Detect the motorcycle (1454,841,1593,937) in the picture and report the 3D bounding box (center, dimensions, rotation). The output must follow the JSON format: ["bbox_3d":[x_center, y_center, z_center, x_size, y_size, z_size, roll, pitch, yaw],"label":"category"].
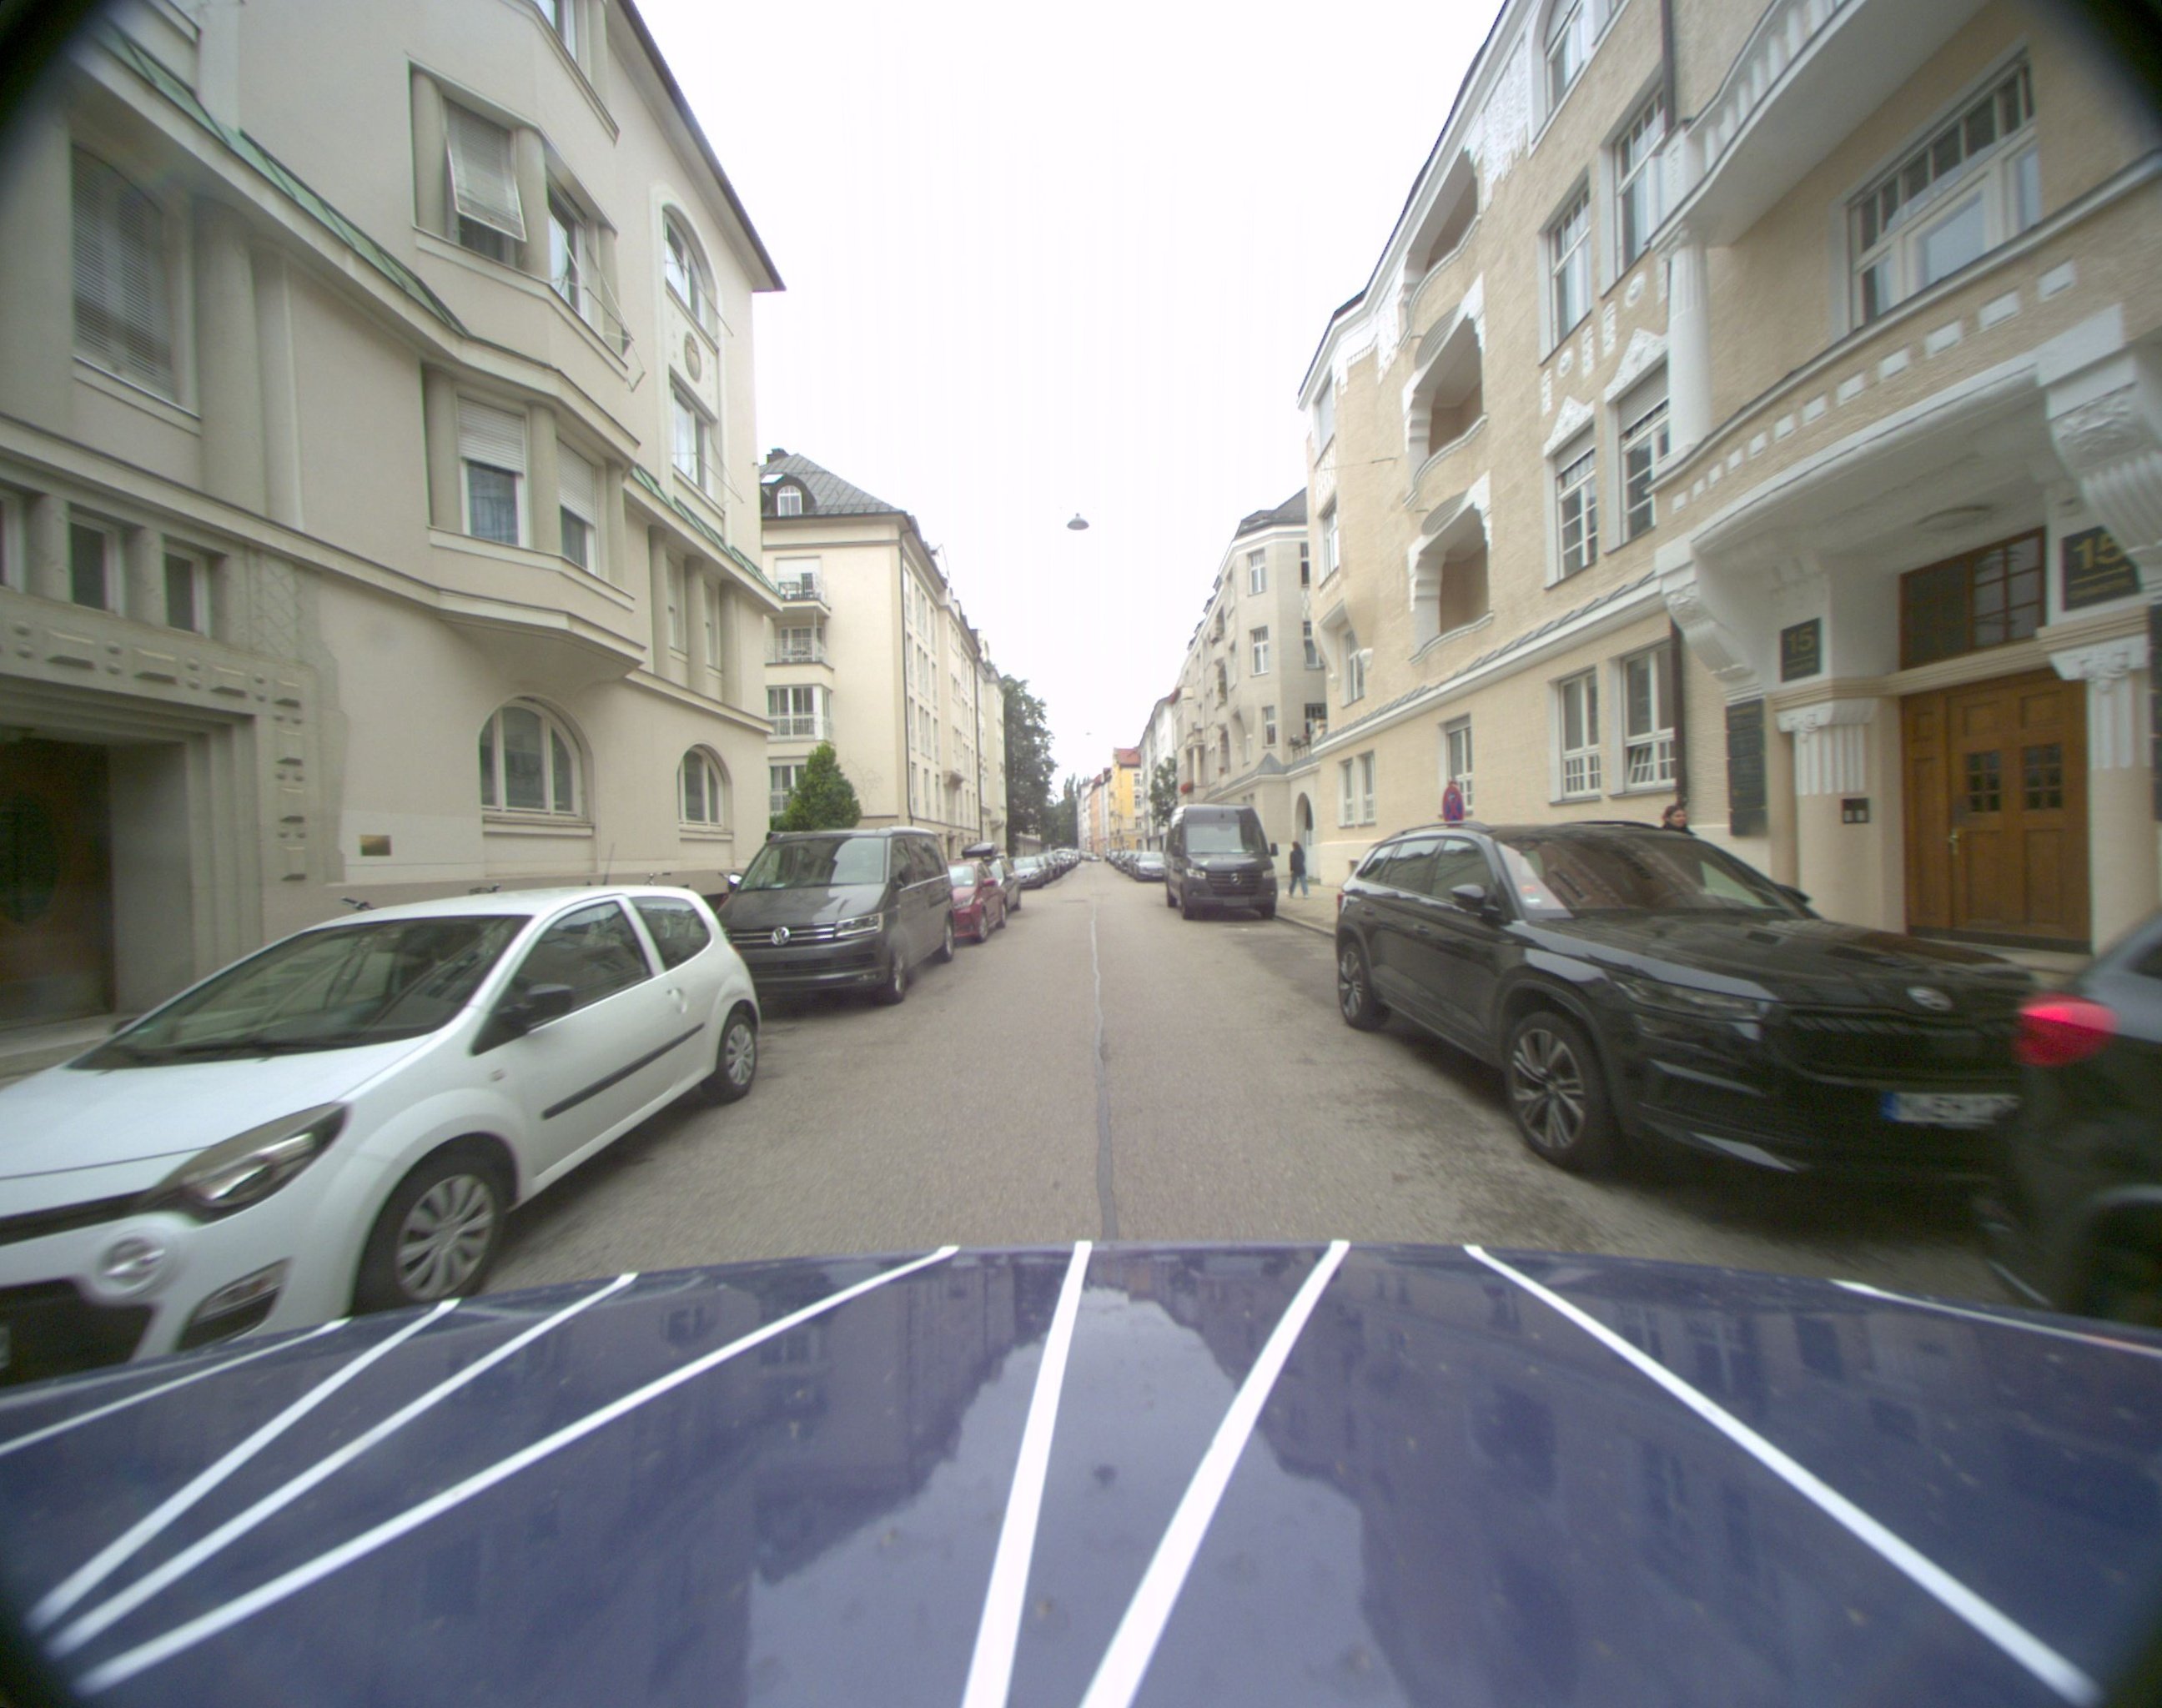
[{"bbox_3d":[7.200,0.509,12.554,0.829,1.388,2.514,-2,1,1],"label":"motorcycle"}]

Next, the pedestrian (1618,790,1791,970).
[{"bbox_3d":[6.427,0.253,7.896,0.995,1.719,0.939,-3,1,1],"label":"pedestrian"}]

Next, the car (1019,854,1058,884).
[{"bbox_3d":[-2.177,0.723,39.451,1.683,1.375,3.645,-2,1,1],"label":"car"}]

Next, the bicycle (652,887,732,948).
[{"bbox_3d":[-7.218,1.151,14.189,0.540,0.952,1.817,-3,1,-1],"label":"bicycle"}]

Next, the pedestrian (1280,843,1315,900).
[{"bbox_3d":[5.892,0.460,20.733,0.714,1.514,1.015,-2,1,6],"label":"pedestrian"}]

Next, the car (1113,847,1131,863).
[{"bbox_3d":[4.384,0.100,82.106,1.683,1.628,3.704,-3,1,0],"label":"car"}]

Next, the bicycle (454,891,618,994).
[{"bbox_3d":[-7.150,1.117,10.116,0.719,1.111,1.967,0,1,1],"label":"bicycle"}]

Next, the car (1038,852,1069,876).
[{"bbox_3d":[-1.704,0.598,48.255,1.683,1.375,3.645,-2,1,1],"label":"car"}]

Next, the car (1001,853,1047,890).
[{"bbox_3d":[-2.499,0.741,34.103,1.683,1.434,3.645,-2,1,1],"label":"car"}]

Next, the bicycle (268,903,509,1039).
[{"bbox_3d":[-7.191,1.150,8.057,0.719,1.111,1.967,1,1,1],"label":"bicycle"}]

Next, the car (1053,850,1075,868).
[{"bbox_3d":[-1.487,0.434,66.406,1.683,1.434,3.645,-2,1,1],"label":"car"}]

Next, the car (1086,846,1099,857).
[{"bbox_3d":[1.973,-0.384,131.612,1.999,1.788,3.999,-3,1,-2],"label":"car"}]

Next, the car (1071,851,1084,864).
[{"bbox_3d":[-0.470,0.446,103.741,1.683,1.671,3.645,-2,1,1],"label":"car"}]

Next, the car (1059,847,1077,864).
[{"bbox_3d":[-1.354,0.128,80.179,1.683,1.671,3.645,-2,1,1],"label":"car"}]

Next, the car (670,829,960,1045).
[{"bbox_3d":[-2.863,0.766,9.467,1.880,1.925,4.662,-3,1,0],"label":"car"}]

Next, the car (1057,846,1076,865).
[{"bbox_3d":[-1.383,0.119,74.617,1.683,1.671,3.645,-2,1,1],"label":"car"}]

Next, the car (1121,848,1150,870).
[{"bbox_3d":[3.813,0.325,53.669,1.683,1.390,3.704,-3,1,0],"label":"car"}]

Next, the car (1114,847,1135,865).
[{"bbox_3d":[4.078,0.164,71.330,1.683,1.628,3.704,-3,1,0],"label":"car"}]

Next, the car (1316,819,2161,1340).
[{"bbox_3d":[3.076,0.709,4.695,1.877,1.639,4.459,-3,1,1],"label":"car"}]

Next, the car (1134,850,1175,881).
[{"bbox_3d":[3.589,0.528,37.433,1.683,1.390,3.705,-2,1,1],"label":"car"}]

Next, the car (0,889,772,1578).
[{"bbox_3d":[-3.036,1.045,3.677,1.496,1.463,3.675,-3,1,0],"label":"car"}]

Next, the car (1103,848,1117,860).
[{"bbox_3d":[4.969,-0.027,131.939,1.999,2.002,3.998,-3,1,-3],"label":"car"}]

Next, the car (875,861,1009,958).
[{"bbox_3d":[-2.479,0.942,14.454,1.731,1.458,3.737,-2,1,1],"label":"car"}]

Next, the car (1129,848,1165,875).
[{"bbox_3d":[3.734,0.408,43.781,1.683,1.390,3.704,-3,1,0],"label":"car"}]

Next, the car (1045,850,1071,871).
[{"bbox_3d":[-1.685,0.483,56.576,1.683,1.434,3.645,-2,1,1],"label":"car"}]

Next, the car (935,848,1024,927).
[{"bbox_3d":[-2.519,0.774,19.580,1.683,1.767,3.456,-2,1,1],"label":"car"}]

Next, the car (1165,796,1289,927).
[{"bbox_3d":[3.254,0.121,18.139,2.104,2.606,5.678,-1,1,3],"label":"car"}]

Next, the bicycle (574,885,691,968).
[{"bbox_3d":[-7.103,1.111,12.156,0.719,1.111,1.884,-1,1,0],"label":"bicycle"}]

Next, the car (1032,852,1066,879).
[{"bbox_3d":[-1.825,0.654,43.970,1.683,1.375,3.645,-2,1,1],"label":"car"}]

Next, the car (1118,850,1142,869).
[{"bbox_3d":[4.010,0.431,63.110,1.683,1.390,3.704,-3,1,0],"label":"car"}]
